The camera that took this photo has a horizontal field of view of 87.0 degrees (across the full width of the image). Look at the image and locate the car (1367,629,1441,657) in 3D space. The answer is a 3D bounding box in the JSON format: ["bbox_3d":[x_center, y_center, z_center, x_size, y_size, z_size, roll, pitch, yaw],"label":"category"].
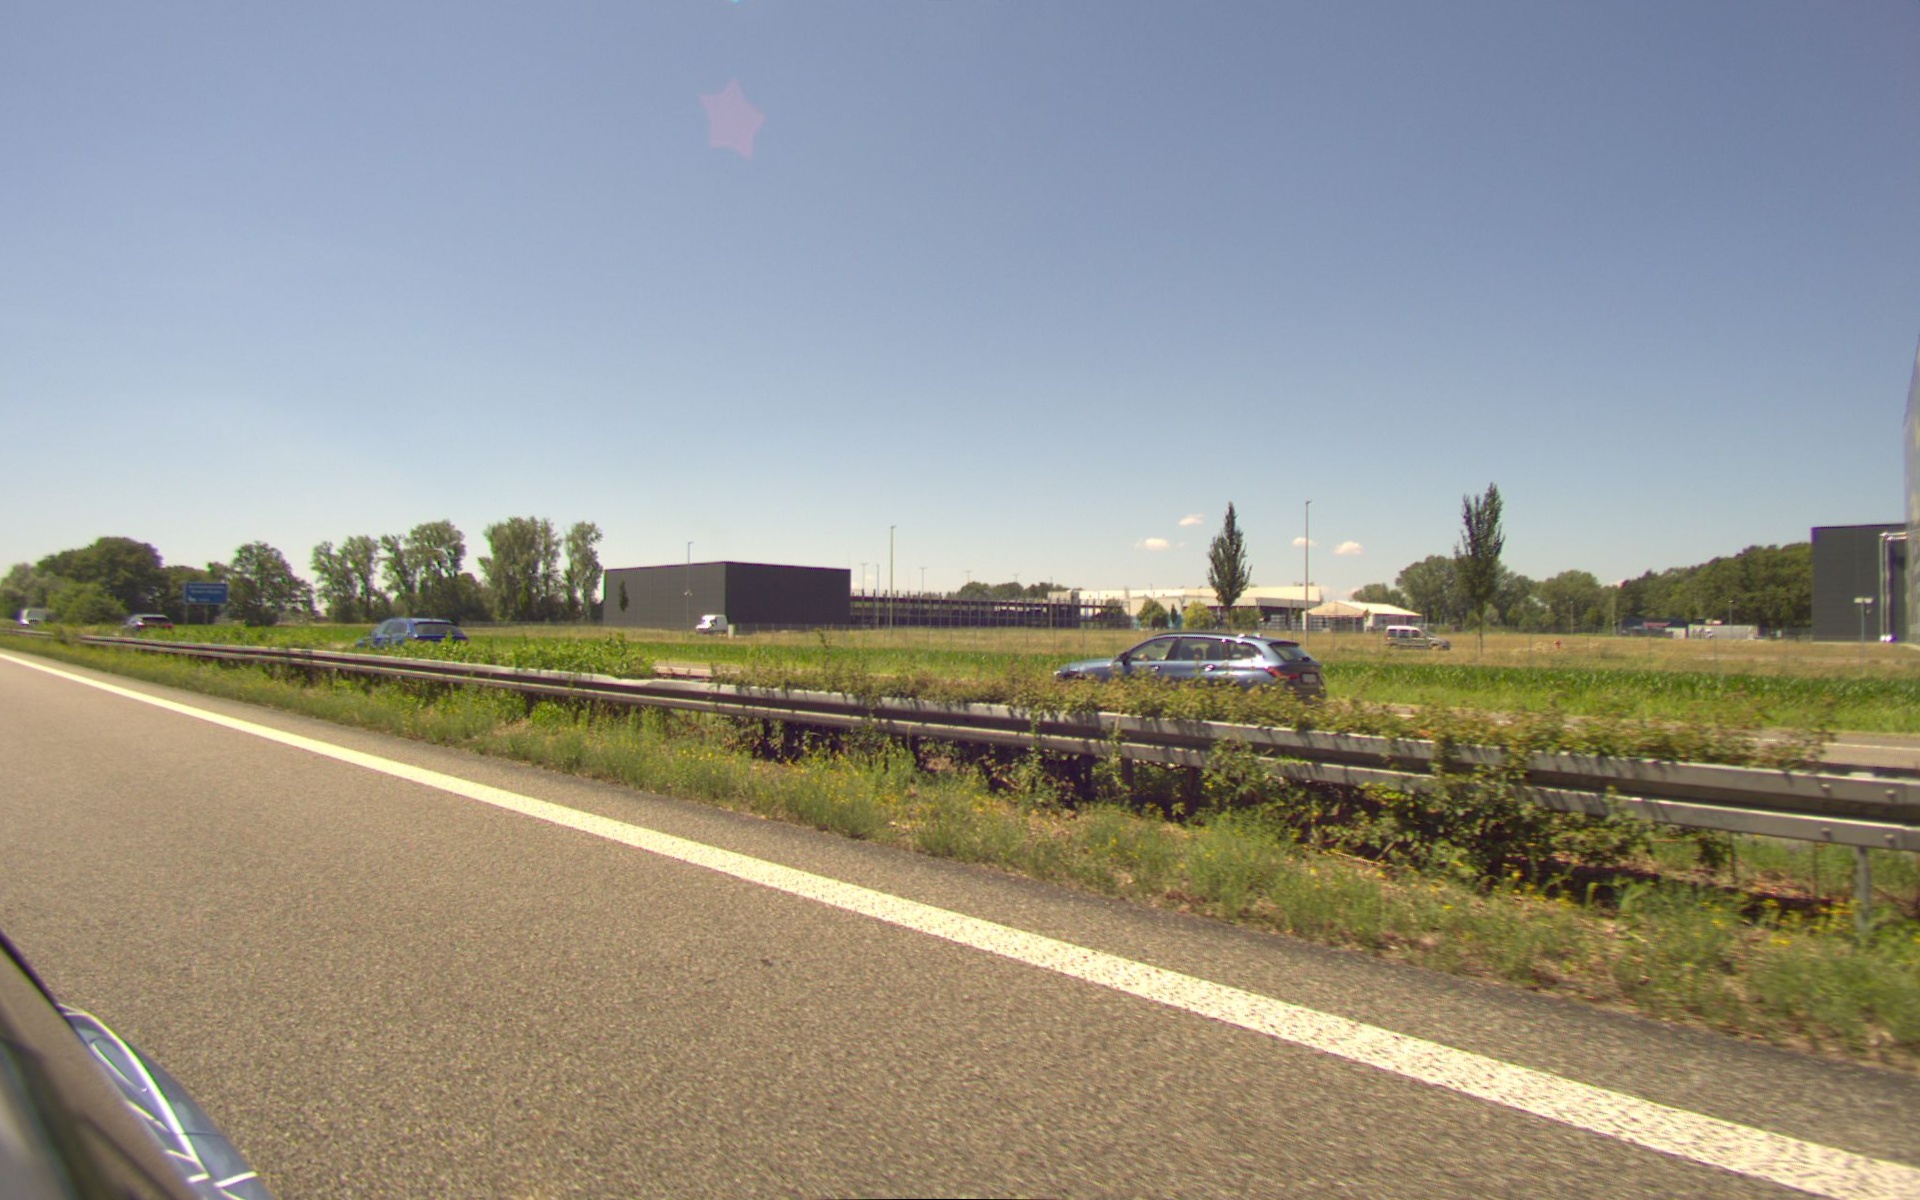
[{"bbox_3d":[28.980,2.800,66.085,4.110,1.740,1.667,-1,-2,41],"label":"car"}]

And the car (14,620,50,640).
[{"bbox_3d":[-88.455,2.871,96.453,5.417,1.820,2.023,-1,-3,42],"label":"car"}]

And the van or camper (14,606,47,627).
[{"bbox_3d":[-118.702,2.080,129.173,6.174,2.553,2.396,0,-3,42],"label":"van or camper"}]

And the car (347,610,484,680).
[{"bbox_3d":[-15.151,1.212,28.073,4.480,1.802,1.891,-1,-3,41],"label":"car"}]

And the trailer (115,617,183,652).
[{"bbox_3d":[-44.004,1.839,54.864,5.235,1.803,1.924,-1,-3,41],"label":"trailer"}]

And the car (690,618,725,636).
[{"bbox_3d":[-31.560,3.445,126.664,2.086,2.194,5.591,0,-2,10],"label":"car"}]

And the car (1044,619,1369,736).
[{"bbox_3d":[3.875,1.174,16.442,4.833,1.624,1.832,-1,-5,41],"label":"car"}]

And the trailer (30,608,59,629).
[{"bbox_3d":[-145.523,2.855,160.829,9.258,3.262,2.646,-1,-1,43],"label":"trailer"}]
